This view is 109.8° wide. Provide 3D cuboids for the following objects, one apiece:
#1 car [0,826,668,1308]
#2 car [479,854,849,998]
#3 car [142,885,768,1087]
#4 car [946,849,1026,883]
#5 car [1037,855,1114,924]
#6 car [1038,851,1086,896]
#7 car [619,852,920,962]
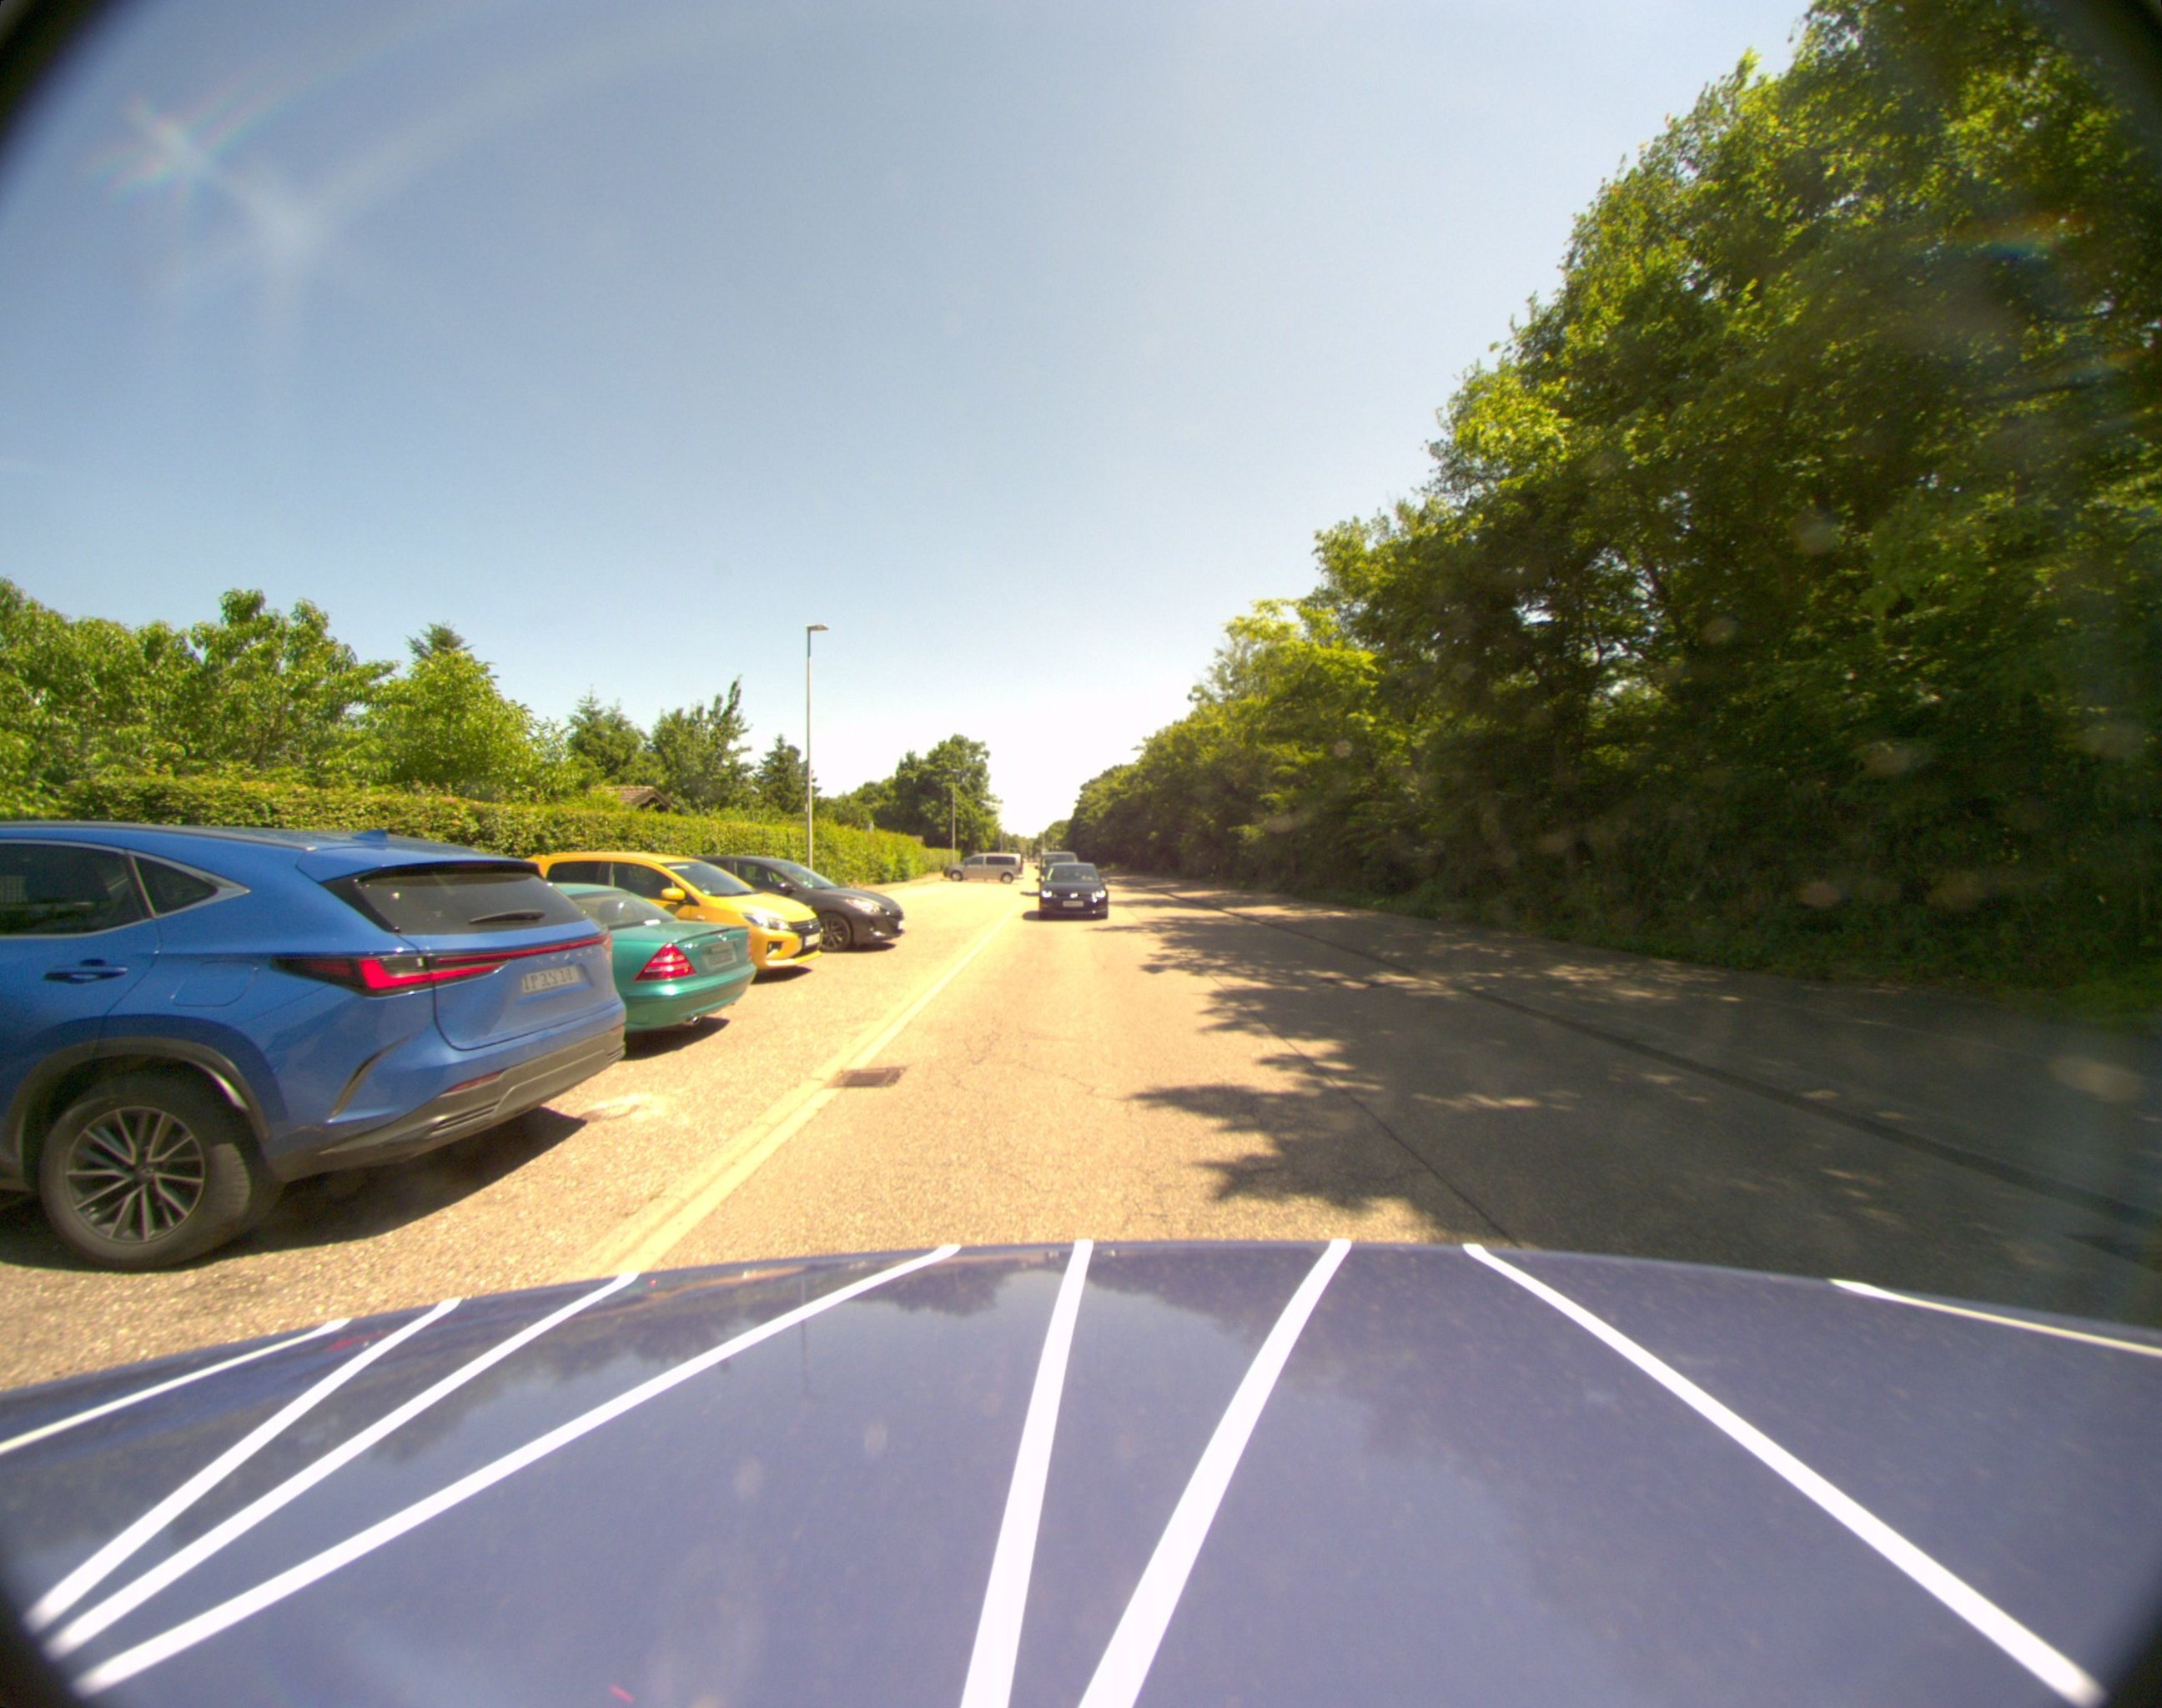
[{"bbox_3d":[-4.572,0.714,3.534,4.249,1.624,1.822,2,1,-1],"label":"car"},{"bbox_3d":[-5.190,0.819,9.719,3.808,1.446,1.775,3,1,8],"label":"car"},{"bbox_3d":[-4.820,0.989,6.282,3.745,1.261,1.628,3,0,-1],"label":"car"},{"bbox_3d":[-5.734,0.710,46.241,4.634,1.837,1.995,2,0,-3],"label":"car"},{"bbox_3d":[-0.194,0.873,20.854,1.887,1.667,4.661,0,0,-2],"label":"car"},{"bbox_3d":[-0.955,0.838,35.138,2.002,1.965,4.448,0,0,-4],"label":"car"},{"bbox_3d":[-4.971,0.817,12.598,4.175,1.487,1.882,3,1,-1],"label":"car"}]
